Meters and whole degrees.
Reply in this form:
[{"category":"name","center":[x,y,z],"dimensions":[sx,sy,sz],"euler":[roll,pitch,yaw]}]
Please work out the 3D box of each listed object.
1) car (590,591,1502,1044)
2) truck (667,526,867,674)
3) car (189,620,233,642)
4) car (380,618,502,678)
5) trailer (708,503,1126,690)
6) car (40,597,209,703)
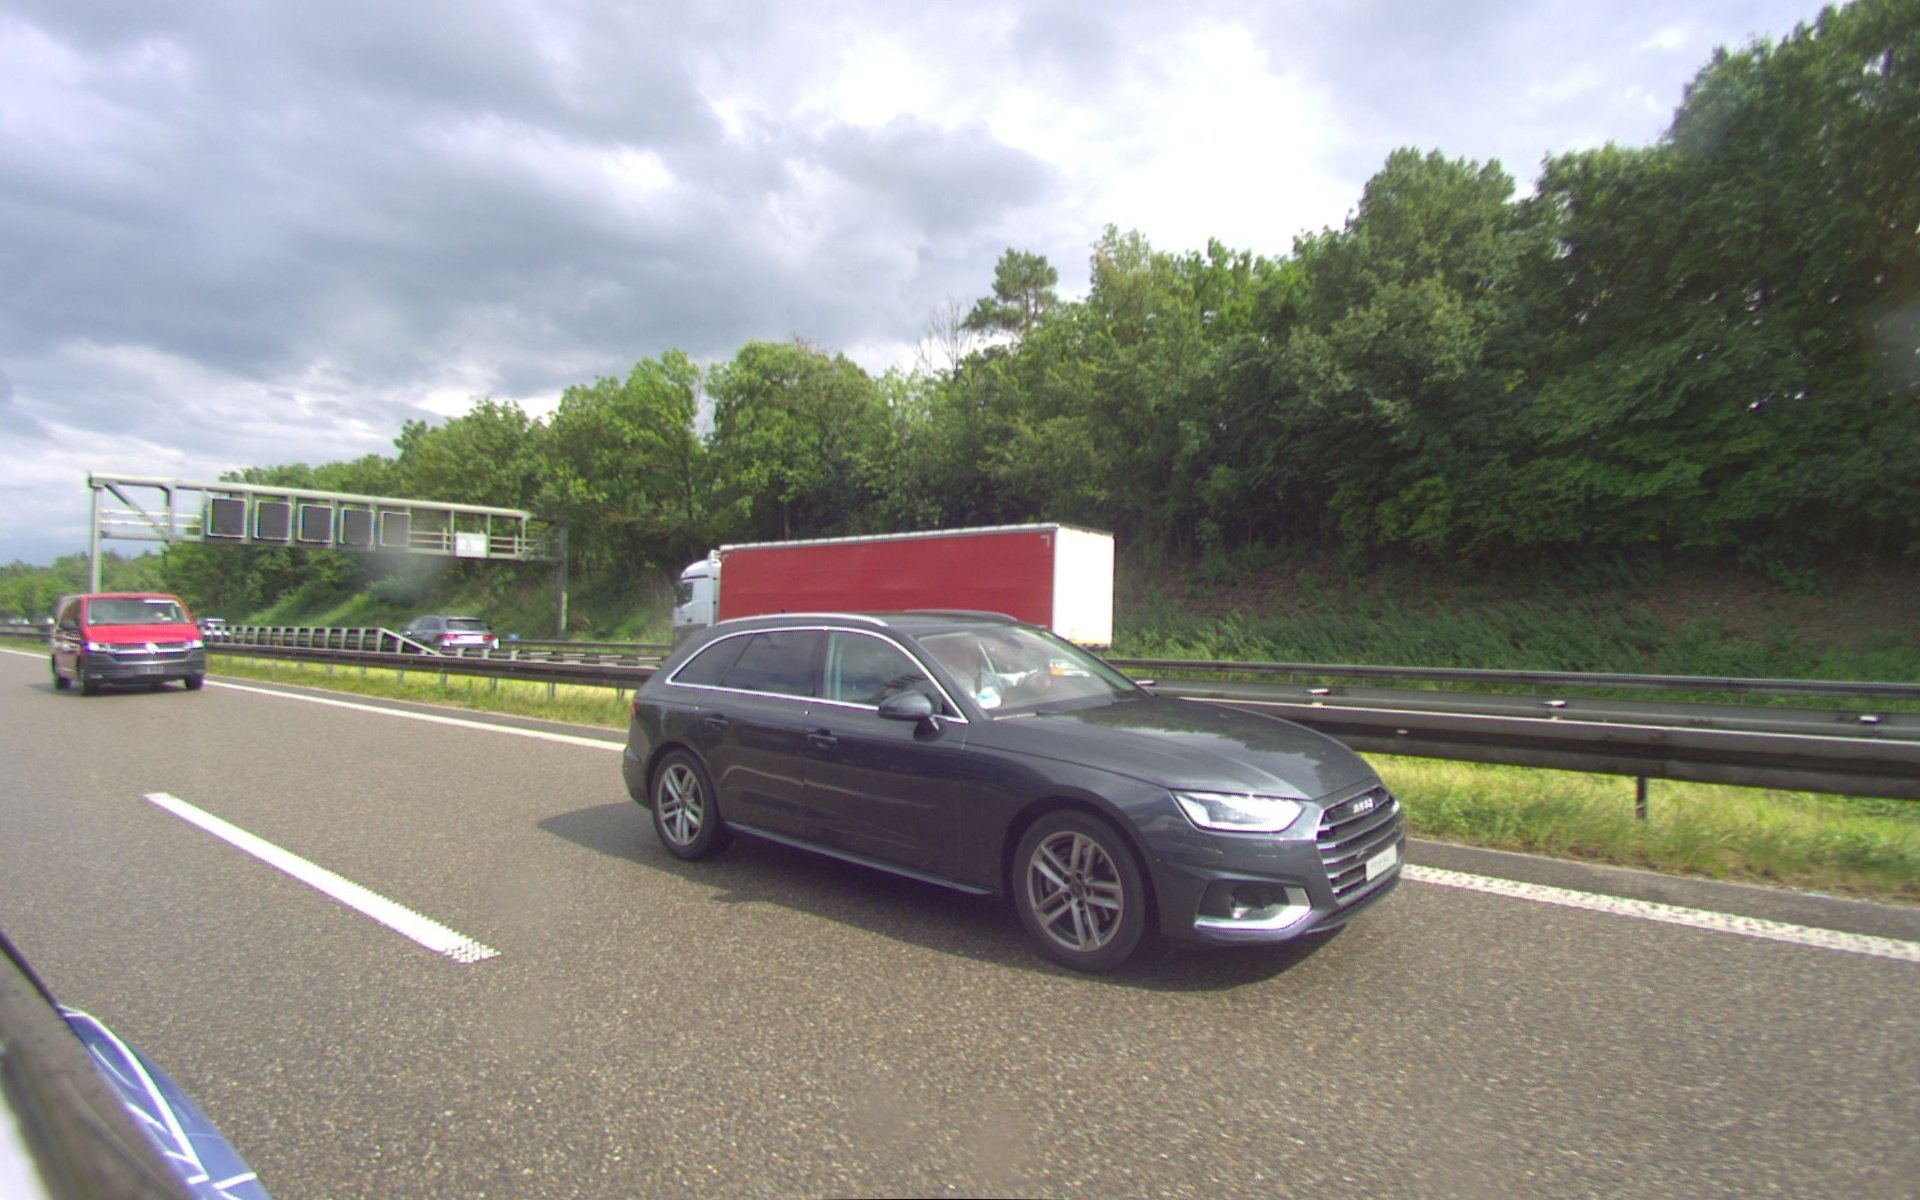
[{"category":"car","center":[0.041,0.707,5.487],"dimensions":[4.837,1.429,1.775],"euler":[-1,0,42]},{"category":"truck","center":[-6.499,0.029,33.509],"dimensions":[6.864,4.406,2.834],"euler":[-1,0,41]},{"category":"car","center":[-58.316,2.388,78.766],"dimensions":[4.628,1.675,1.810],"euler":[-1,0,41]},{"category":"car","center":[-16.187,1.425,31.476],"dimensions":[4.438,1.675,1.819],"euler":[-1,0,41]},{"category":"trailer","center":[-1.985,-0.031,29.549],"dimensions":[14.083,4.406,2.834],"euler":[-1,0,41]},{"category":"car","center":[-16.818,0.907,20.280],"dimensions":[4.837,1.880,1.902],"euler":[-1,0,42]}]
